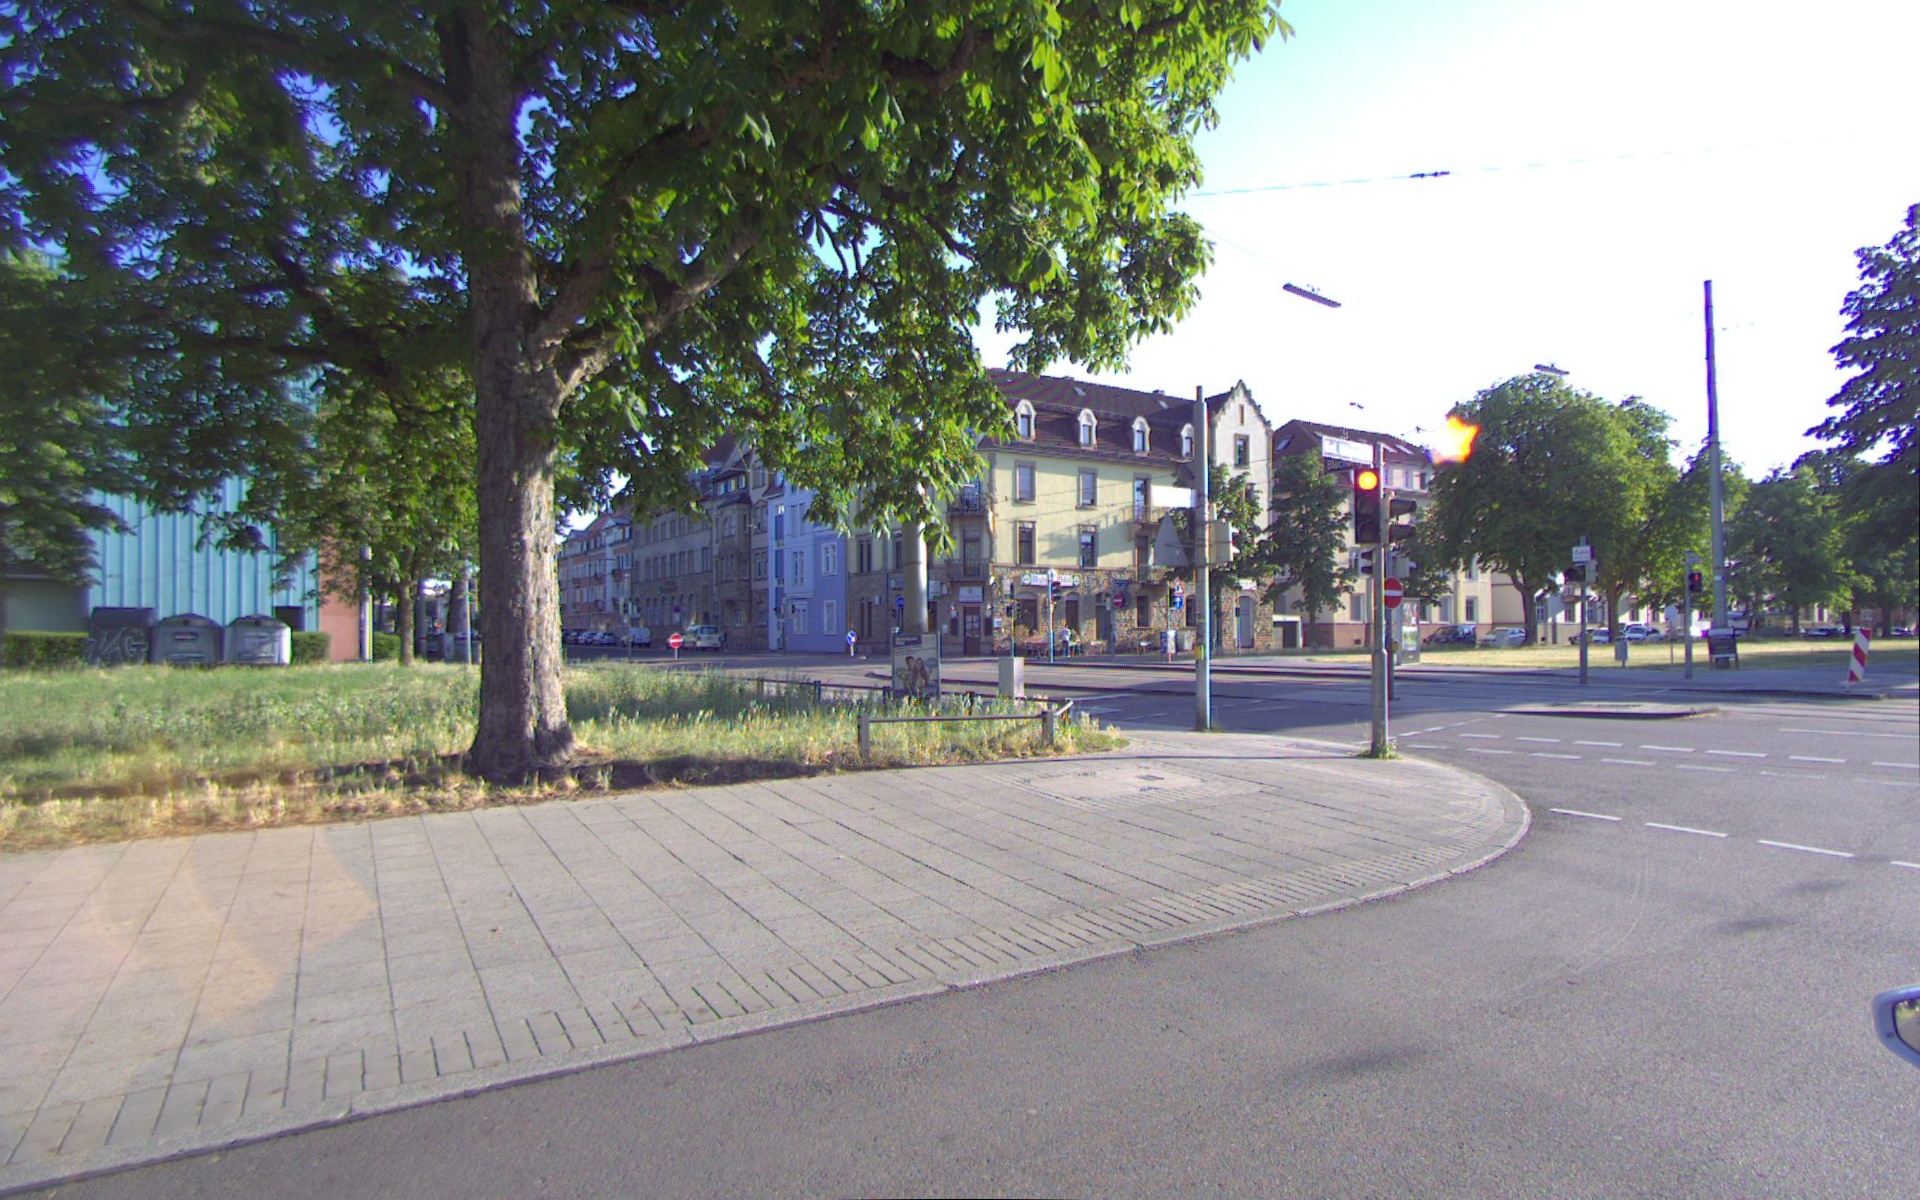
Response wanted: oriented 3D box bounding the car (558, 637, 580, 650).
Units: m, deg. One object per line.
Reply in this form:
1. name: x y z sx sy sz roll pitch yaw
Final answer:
1. car: -45.928 5.115 117.854 1.867 1.433 4.013 1 -2 -29

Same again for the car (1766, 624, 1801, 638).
1. car: 86.162 3.243 105.112 3.749 1.446 1.729 1 -1 -31

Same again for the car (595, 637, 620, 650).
1. car: -36.455 4.476 103.861 1.867 1.299 4.013 1 -2 -29

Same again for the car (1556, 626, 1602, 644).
1. car: 51.987 2.917 84.355 3.749 1.446 1.729 1 -2 -31

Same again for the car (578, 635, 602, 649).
1. car: -39.913 4.539 108.385 1.867 1.433 4.013 1 -2 -29

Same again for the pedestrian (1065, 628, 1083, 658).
1. pedestrian: 6.457 2.409 56.889 0.715 1.664 0.811 0 -1 -23

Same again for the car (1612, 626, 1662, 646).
1. car: 51.345 2.712 76.134 3.748 1.446 1.729 -1 -1 -31

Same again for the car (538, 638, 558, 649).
1. car: -52.121 5.484 127.036 1.867 1.433 4.013 1 -2 -29

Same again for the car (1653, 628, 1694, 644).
1. car: 65.835 3.272 92.711 3.749 1.446 1.729 1 -2 -31

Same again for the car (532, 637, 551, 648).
1. car: -54.666 5.564 131.085 1.867 1.433 4.013 1 -2 -29

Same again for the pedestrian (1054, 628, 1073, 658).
1. pedestrian: 5.781 2.391 56.182 0.805 1.664 0.721 0 -1 -27

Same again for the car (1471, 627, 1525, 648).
1. car: 40.803 2.805 76.235 3.741 1.446 1.733 -1 0 -26

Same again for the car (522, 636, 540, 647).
1. car: -57.595 5.591 134.887 1.867 1.433 4.013 1 -2 -29

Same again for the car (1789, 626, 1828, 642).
1. car: 80.201 3.217 94.958 3.749 1.446 1.729 1 -1 -31

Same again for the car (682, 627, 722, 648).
1. car: -20.135 2.922 78.382 2.074 1.612 4.014 2 -2 -29

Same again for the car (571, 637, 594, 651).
1. car: -42.651 4.966 113.504 1.867 1.433 4.013 1 -2 -29

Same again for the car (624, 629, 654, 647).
1. car: -30.128 3.516 94.088 1.888 1.610 4.013 2 -2 -29

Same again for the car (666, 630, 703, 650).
1. car: -22.817 3.319 83.100 2.074 1.612 4.014 2 -2 -29

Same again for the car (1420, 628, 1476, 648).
1. car: 35.425 2.753 72.867 3.741 1.416 1.733 1 -2 -26

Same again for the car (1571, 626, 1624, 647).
1. car: 46.286 2.631 72.933 3.749 1.446 1.729 0 -1 -31

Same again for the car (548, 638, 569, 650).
1. car: -48.961 5.365 122.362 1.867 1.433 4.013 1 -2 -29
